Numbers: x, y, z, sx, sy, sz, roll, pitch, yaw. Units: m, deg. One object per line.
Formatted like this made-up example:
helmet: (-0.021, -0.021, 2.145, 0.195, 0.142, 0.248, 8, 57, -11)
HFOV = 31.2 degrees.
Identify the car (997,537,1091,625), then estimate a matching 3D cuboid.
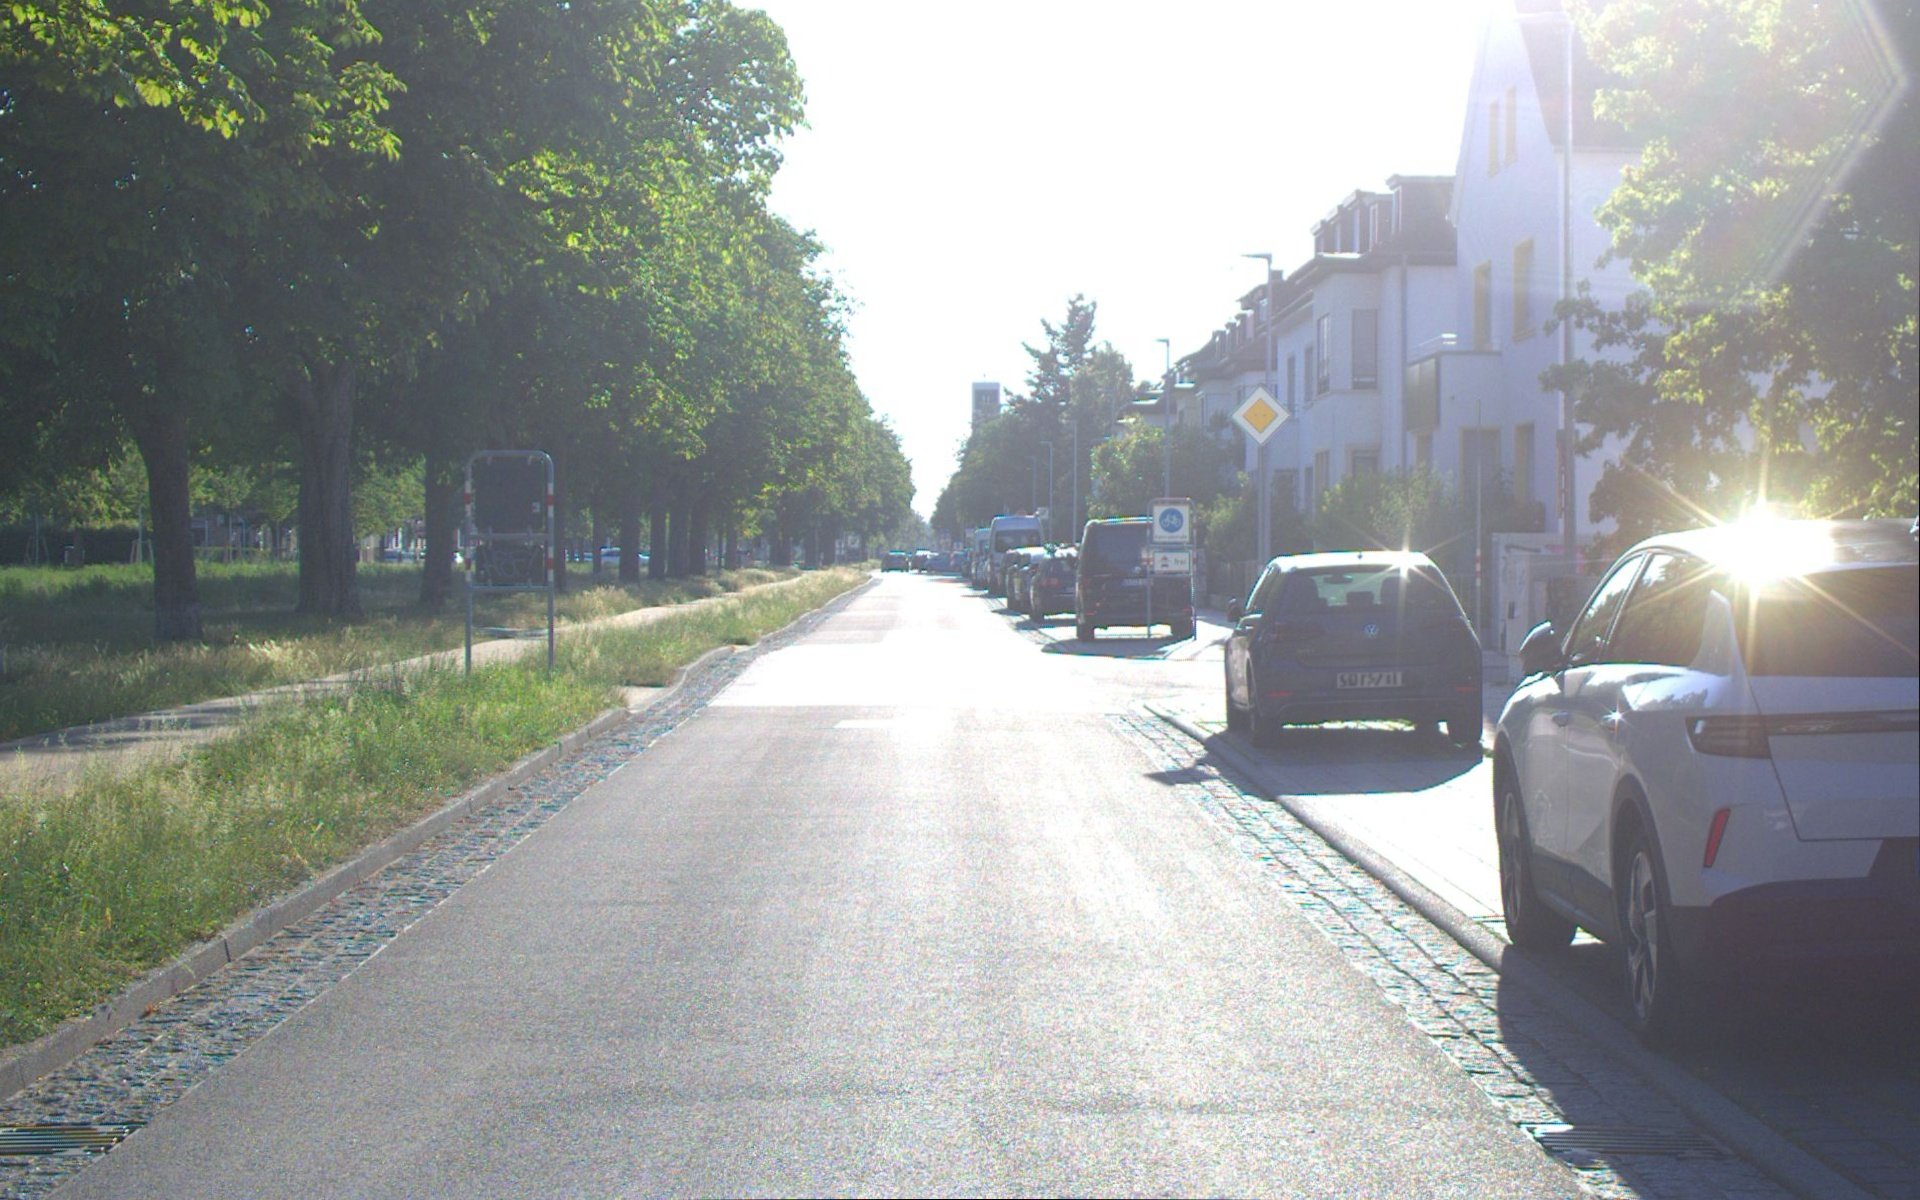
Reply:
car: (1.767, -0.444, 73.663, 1.794, 1.765, 4.473, -2, 1, -1)

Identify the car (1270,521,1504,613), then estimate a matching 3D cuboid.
car: (8.292, -0.650, 66.972, 4.216, 1.720, 1.853, -1, 1, -4)

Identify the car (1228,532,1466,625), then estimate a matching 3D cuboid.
car: (7.320, -0.412, 65.236, 4.216, 1.720, 1.853, 0, 1, -4)

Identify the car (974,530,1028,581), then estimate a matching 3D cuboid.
car: (1.321, -1.461, 112.216, 1.663, 1.587, 4.086, 1, 1, 0)

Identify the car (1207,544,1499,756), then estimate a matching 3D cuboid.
car: (3.023, 0.333, 27.199, 1.794, 1.477, 4.124, -2, 1, 0)

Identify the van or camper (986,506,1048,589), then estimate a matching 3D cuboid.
van or camper: (1.937, -1.778, 118.805, 1.943, 2.768, 5.940, 1, 0, 0)

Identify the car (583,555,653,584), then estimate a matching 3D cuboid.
car: (-22.085, -1.953, 222.111, 4.345, 1.758, 2.000, 1, 0, -9)

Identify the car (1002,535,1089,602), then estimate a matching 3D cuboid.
car: (2.110, -0.798, 85.779, 1.717, 1.568, 4.211, -2, 1, -4)

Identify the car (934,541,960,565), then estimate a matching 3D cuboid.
car: (-0.901, -3.232, 236.706, 1.650, 1.525, 3.851, 3, 1, 1)

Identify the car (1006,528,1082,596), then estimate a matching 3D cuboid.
car: (2.223, -1.026, 91.497, 1.832, 1.679, 4.415, 2, 1, 0)

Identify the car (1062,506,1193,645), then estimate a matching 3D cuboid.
car: (2.729, -0.437, 56.902, 1.906, 2.124, 4.814, -2, 1, 1)

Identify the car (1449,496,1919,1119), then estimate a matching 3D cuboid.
car: (2.968, 0.520, 11.970, 1.905, 1.702, 4.575, -2, 2, 1)

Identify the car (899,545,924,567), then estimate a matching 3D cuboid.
car: (-3.576, -3.244, 253.344, 1.650, 1.525, 3.851, 3, 1, 1)

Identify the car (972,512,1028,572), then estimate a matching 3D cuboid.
car: (1.701, -2.501, 149.213, 2.126, 2.524, 5.189, -1, 1, -2)

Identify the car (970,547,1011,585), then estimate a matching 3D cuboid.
car: (1.276, -1.417, 143.002, 1.650, 1.525, 3.851, -1, 1, 1)
